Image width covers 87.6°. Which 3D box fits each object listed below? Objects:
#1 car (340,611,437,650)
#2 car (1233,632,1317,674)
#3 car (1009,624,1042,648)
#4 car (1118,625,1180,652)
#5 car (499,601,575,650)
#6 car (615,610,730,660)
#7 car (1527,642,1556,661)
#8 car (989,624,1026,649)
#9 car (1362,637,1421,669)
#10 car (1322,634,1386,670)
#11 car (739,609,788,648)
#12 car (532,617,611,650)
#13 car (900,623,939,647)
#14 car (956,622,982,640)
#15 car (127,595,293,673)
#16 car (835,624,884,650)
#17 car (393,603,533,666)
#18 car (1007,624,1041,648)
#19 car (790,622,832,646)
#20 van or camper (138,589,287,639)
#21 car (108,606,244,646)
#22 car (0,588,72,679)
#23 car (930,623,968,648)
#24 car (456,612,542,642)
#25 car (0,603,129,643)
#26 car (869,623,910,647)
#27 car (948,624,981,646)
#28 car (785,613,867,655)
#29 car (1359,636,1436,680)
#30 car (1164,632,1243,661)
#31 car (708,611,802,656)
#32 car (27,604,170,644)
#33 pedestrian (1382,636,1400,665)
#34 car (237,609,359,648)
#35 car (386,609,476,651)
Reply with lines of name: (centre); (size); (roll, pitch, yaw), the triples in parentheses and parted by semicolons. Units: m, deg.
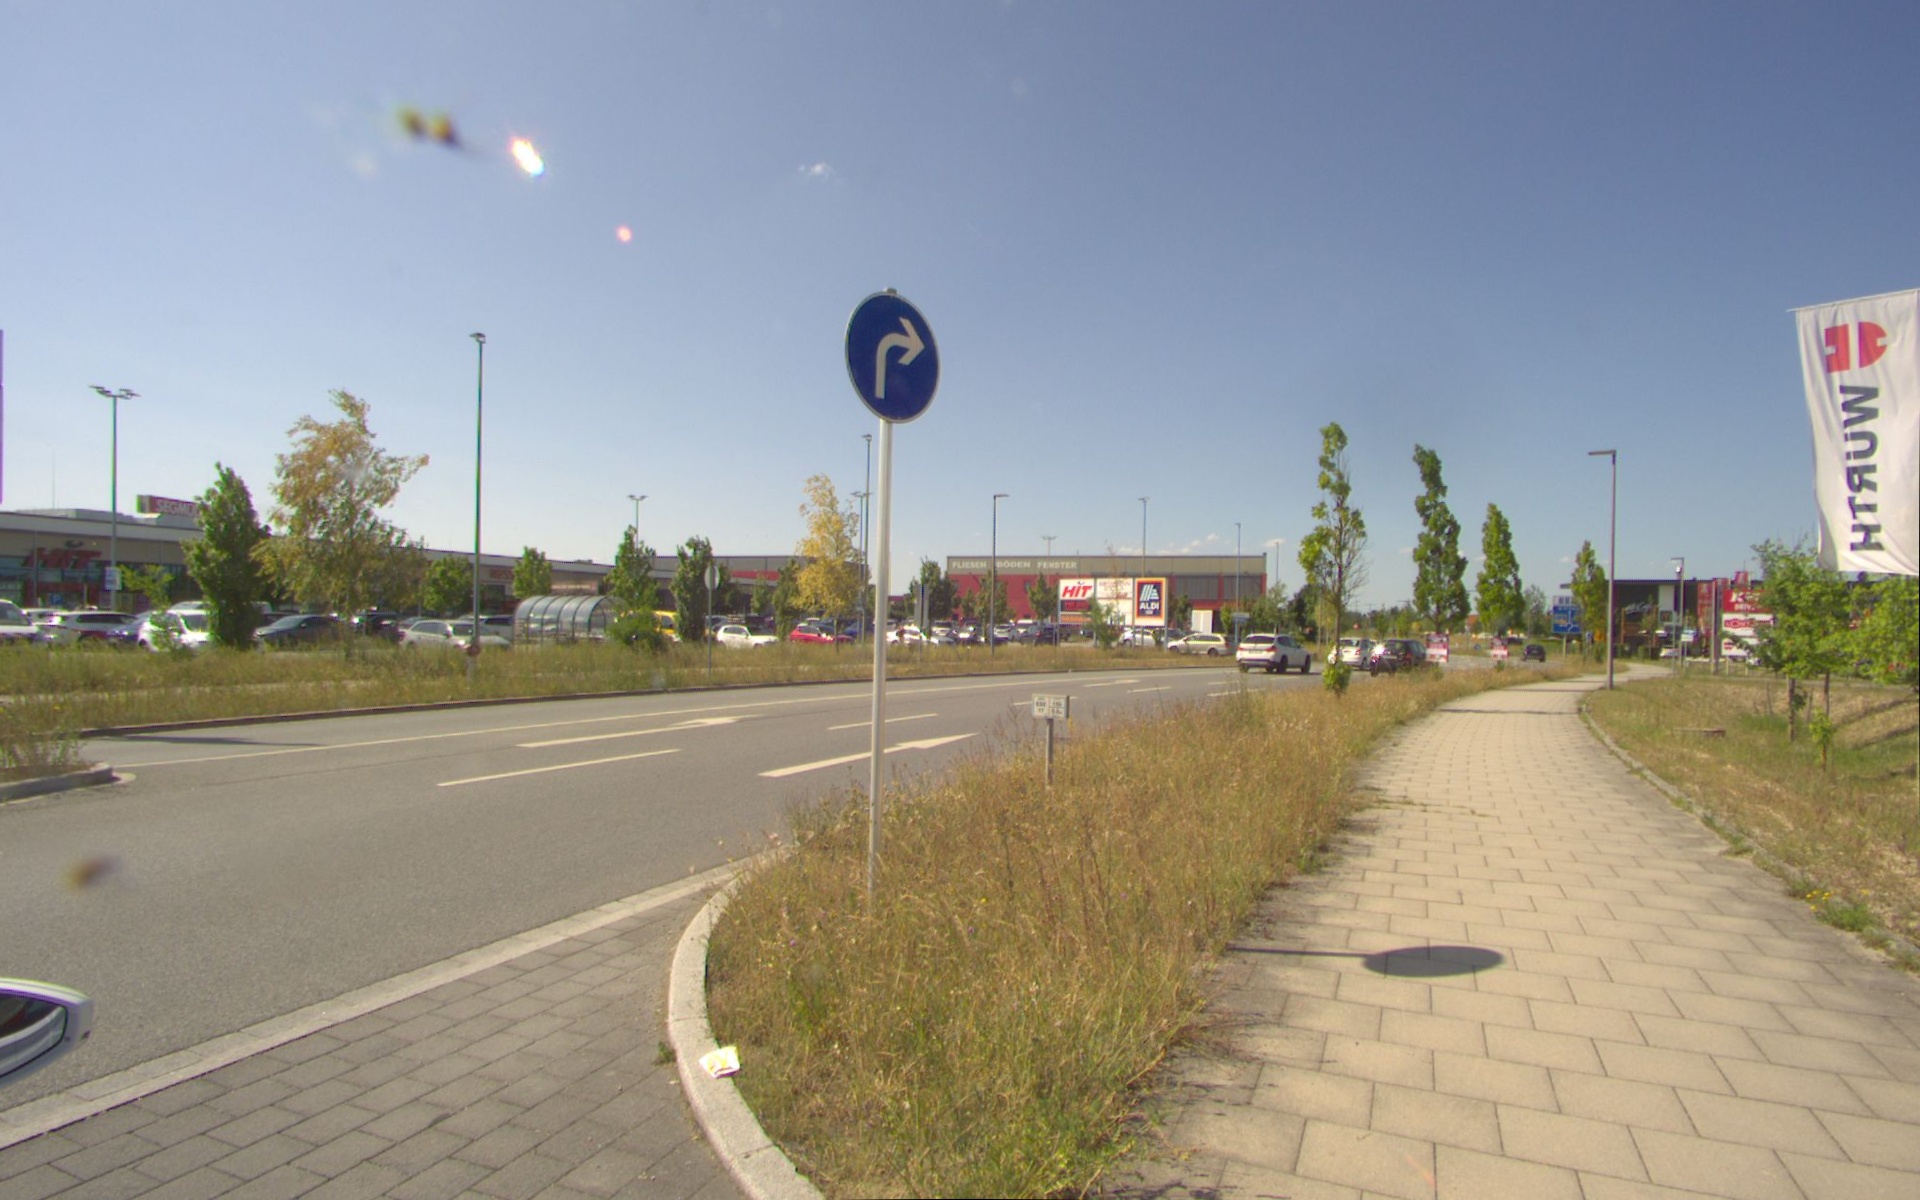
car: (-32.177, 1.722, 56.550); (1.966, 2.129, 4.475); (0, -2, 22)
car: (12.633, 2.072, 40.013); (1.720, 1.571, 4.539); (0, -2, 38)
car: (5.933, 3.270, 90.250); (1.964, 2.064, 4.479); (0, -2, 18)
car: (14.947, 3.039, 79.190); (4.418, 2.064, 1.991); (0, -2, 30)
car: (-25.569, 1.568, 60.704); (1.962, 2.857, 4.483); (0, -1, 13)
car: (-12.556, 1.485, 43.652); (5.047, 2.040, 2.152); (0, -1, 36)
car: (51.440, 4.565, 88.551); (1.889, 1.571, 4.363); (0, -2, 35)
car: (4.029, 3.068, 84.489); (1.964, 2.064, 4.479); (0, -2, 18)
car: (23.291, 2.822, 53.931); (1.921, 1.571, 4.731); (0, -2, 36)
car: (18.369, 2.380, 46.626); (1.720, 1.571, 3.756); (0, -2, 39)
car: (-14.826, 2.170, 75.836); (1.962, 2.857, 4.483); (0, -1, 13)
car: (-23.024, 2.001, 59.589); (1.964, 1.887, 4.479); (0, -2, 18)
car: (-3.486, 3.061, 87.233); (1.964, 2.064, 4.479); (0, -2, 18)
car: (1.171, 3.850, 123.942); (1.964, 2.064, 4.479); (0, -2, 18)
car: (-21.370, 0.906, 28.484); (5.042, 2.040, 2.154); (0, -1, 33)
car: (-7.347, 2.724, 73.776); (1.964, 1.807, 4.309); (0, -2, 18)
car: (-17.554, 1.164, 35.296); (5.042, 2.040, 2.154); (0, -1, 33)
car: (5.807, 3.270, 90.278); (1.964, 2.064, 4.479); (0, -2, 18)
car: (-13.335, 3.023, 89.923); (1.964, 2.064, 4.479); (0, -2, 18)
van or camper: (-33.011, 0.635, 44.424); (1.965, 2.040, 5.042); (1, -1, 20)
car: (-29.089, 0.964, 37.285); (1.700, 1.408, 3.728); (1, -1, 15)
car: (-23.702, 0.729, 23.815); (5.144, 2.040, 2.081); (1, -1, 27)
car: (-0.923, 3.078, 86.775); (1.964, 2.064, 4.479); (0, -2, 18)
car: (-24.688, 1.462, 53.806); (1.626, 1.539, 4.343); (0, -2, 20)
car: (-34.561, 0.874, 38.468); (1.700, 1.408, 3.728); (1, -1, 15)
car: (-6.145, 3.049, 87.922); (1.964, 2.064, 4.479); (0, -2, 18)
car: (0.490, 3.527, 100.674); (1.964, 2.064, 4.479); (0, -2, 18)
car: (-6.954, 1.747, 51.834); (4.085, 2.039, 1.871); (0, -1, 38)
car: (17.316, 2.243, 39.556); (1.974, 1.570, 3.818); (1, -1, 37)
car: (15.339, 2.911, 63.185); (4.426, 1.737, 1.988); (-1, -2, 37)
car: (-9.833, 1.584, 47.900); (4.351, 2.039, 1.933); (0, -1, 36)
car: (-31.860, 0.886, 37.166); (1.700, 1.408, 3.728); (1, -1, 15)
pedestrian: (25.866, 3.036, 60.088); (0.700, 1.686, 0.664); (1, 0, -25)
car: (-28.031, 1.218, 42.538); (1.842, 1.527, 3.994); (0, -2, 20)
car: (-29.275, 1.683, 55.594); (1.962, 2.219, 4.483); (0, -2, 13)
